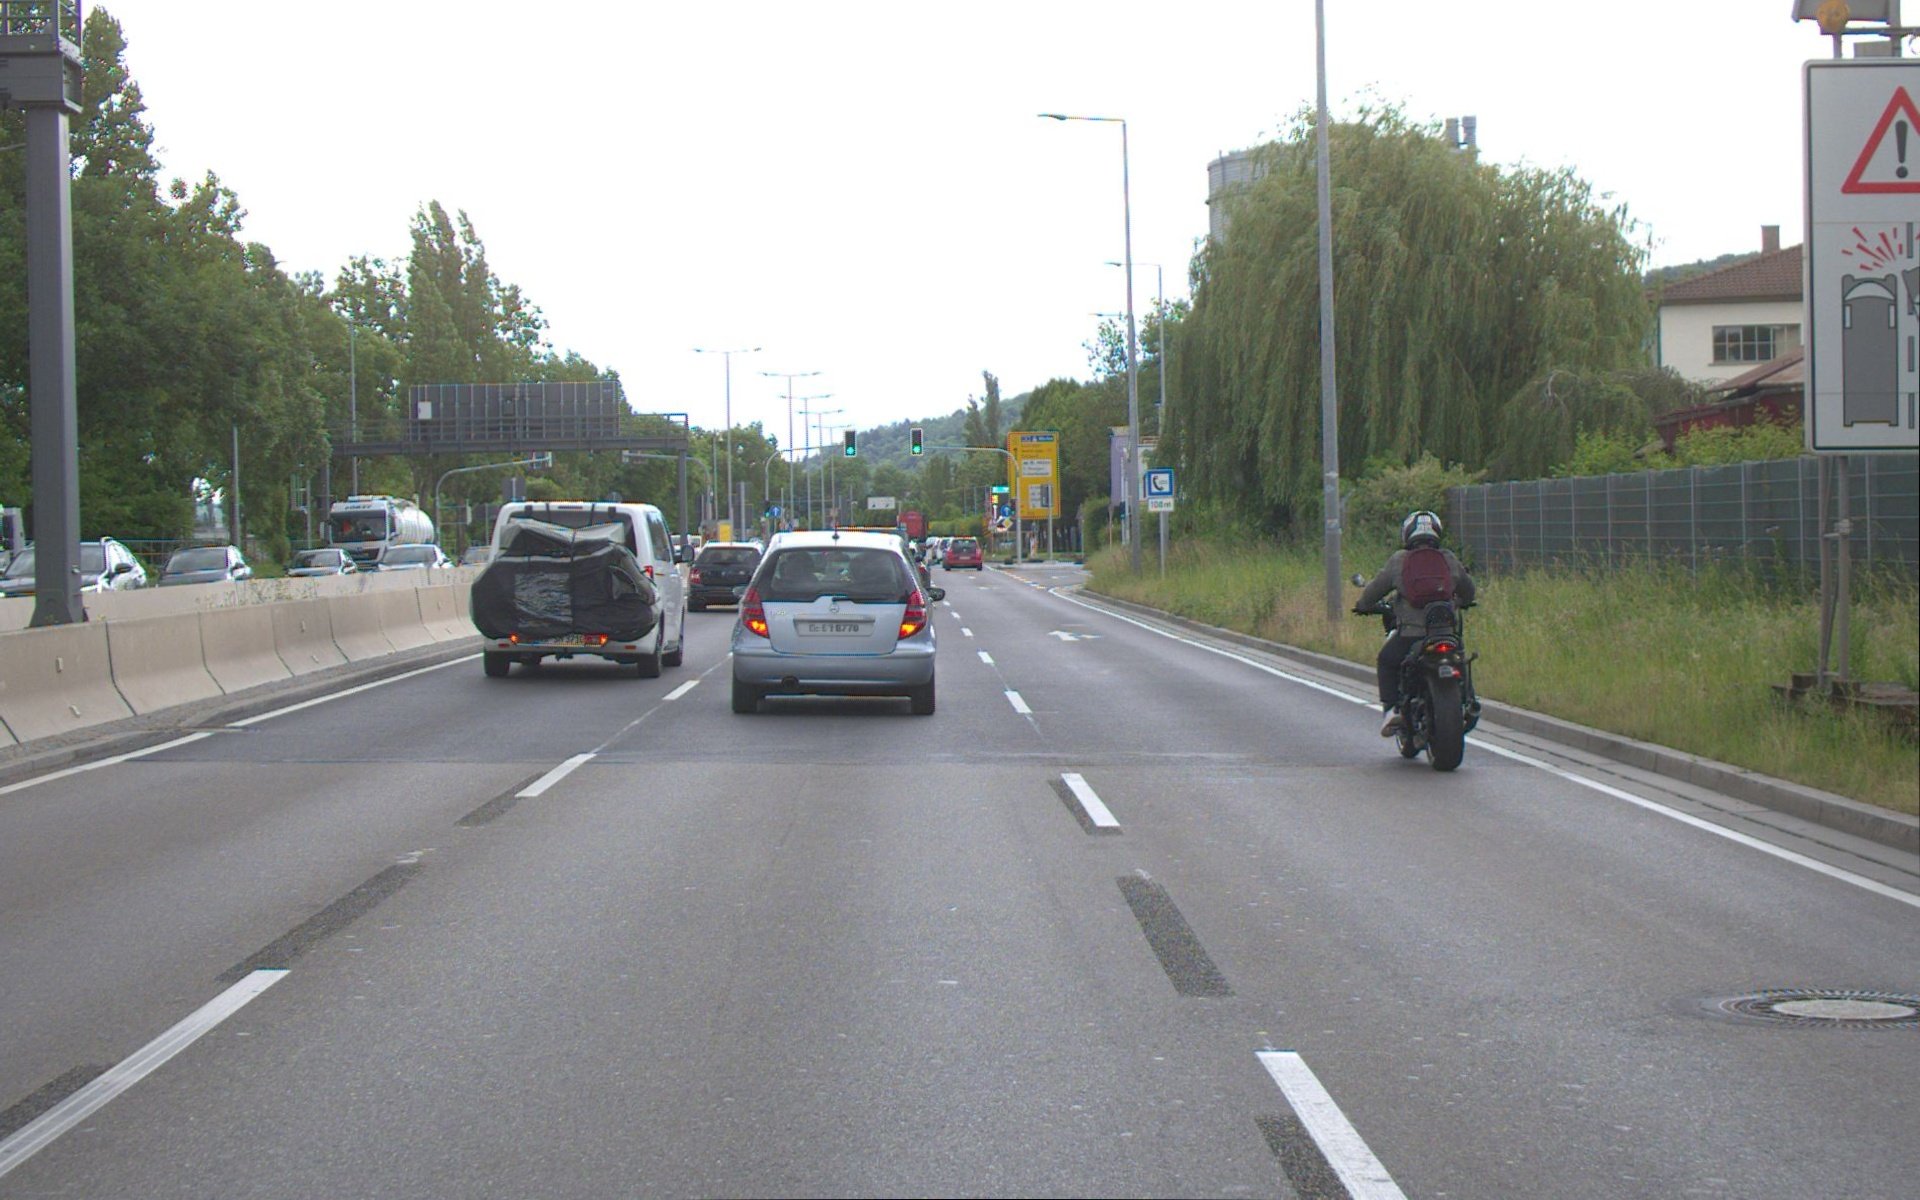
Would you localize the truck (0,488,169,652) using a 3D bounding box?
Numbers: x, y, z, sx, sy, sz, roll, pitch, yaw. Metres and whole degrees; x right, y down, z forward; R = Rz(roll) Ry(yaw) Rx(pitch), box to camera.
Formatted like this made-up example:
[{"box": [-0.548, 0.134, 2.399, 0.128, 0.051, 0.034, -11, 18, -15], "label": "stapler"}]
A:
[{"box": [-19.744, -0.768, 72.421, 2.854, 3.096, 15.887, 1, 1, -2], "label": "truck"}]

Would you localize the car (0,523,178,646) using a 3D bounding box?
[{"box": [-12.539, -0.257, 48.674, 1.926, 1.612, 4.456, 1, 1, 0], "label": "car"}]

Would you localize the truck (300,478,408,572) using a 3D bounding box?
[{"box": [-21.604, -2.695, 122.853, 3.098, 3.208, 5.392, 1, 1, -3], "label": "truck"}]

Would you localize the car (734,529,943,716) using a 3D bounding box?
[{"box": [-1.060, 0.145, 30.786, 1.710, 1.525, 4.000, 1, 1, -1], "label": "car"}]

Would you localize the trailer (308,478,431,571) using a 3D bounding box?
[{"box": [-21.872, -2.810, 127.999, 3.100, 3.209, 11.670, 1, 1, -3], "label": "trailer"}]

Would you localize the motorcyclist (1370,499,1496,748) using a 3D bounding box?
[{"box": [3.119, 0.144, 22.734, 0.685, 1.604, 0.845, 1, 1, 1], "label": "motorcyclist"}]

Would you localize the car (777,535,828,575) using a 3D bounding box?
[{"box": [-6.398, -1.855, 139.913, 1.993, 1.546, 4.001, 1, 1, -2], "label": "car"}]

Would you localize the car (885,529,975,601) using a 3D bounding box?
[{"box": [-0.665, -0.767, 73.507, 1.840, 1.459, 4.000, 1, 1, -1], "label": "car"}]

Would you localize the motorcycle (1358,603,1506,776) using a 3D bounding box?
[{"box": [3.110, 0.570, 22.812, 0.706, 1.036, 2.027, 1, 1, 1], "label": "motorcycle"}]

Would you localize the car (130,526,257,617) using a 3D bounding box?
[{"box": [-16.476, -0.635, 74.089, 1.816, 1.870, 4.101, 1, 1, -1], "label": "car"}]

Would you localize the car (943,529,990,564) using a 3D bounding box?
[{"box": [0.291, -2.470, 157.422, 1.993, 1.546, 4.001, 1, 1, -2], "label": "car"}]

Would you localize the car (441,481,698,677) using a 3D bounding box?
[{"box": [-4.111, -0.260, 37.044, 2.214, 1.919, 5.003, 1, 1, -1], "label": "car"}]

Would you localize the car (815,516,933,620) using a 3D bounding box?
[{"box": [-1.427, -0.570, 58.542, 1.907, 1.678, 4.000, 1, 1, 0], "label": "car"}]

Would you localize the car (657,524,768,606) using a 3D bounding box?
[{"box": [-4.958, -0.730, 69.432, 1.993, 1.546, 4.000, 1, 1, -1], "label": "car"}]
